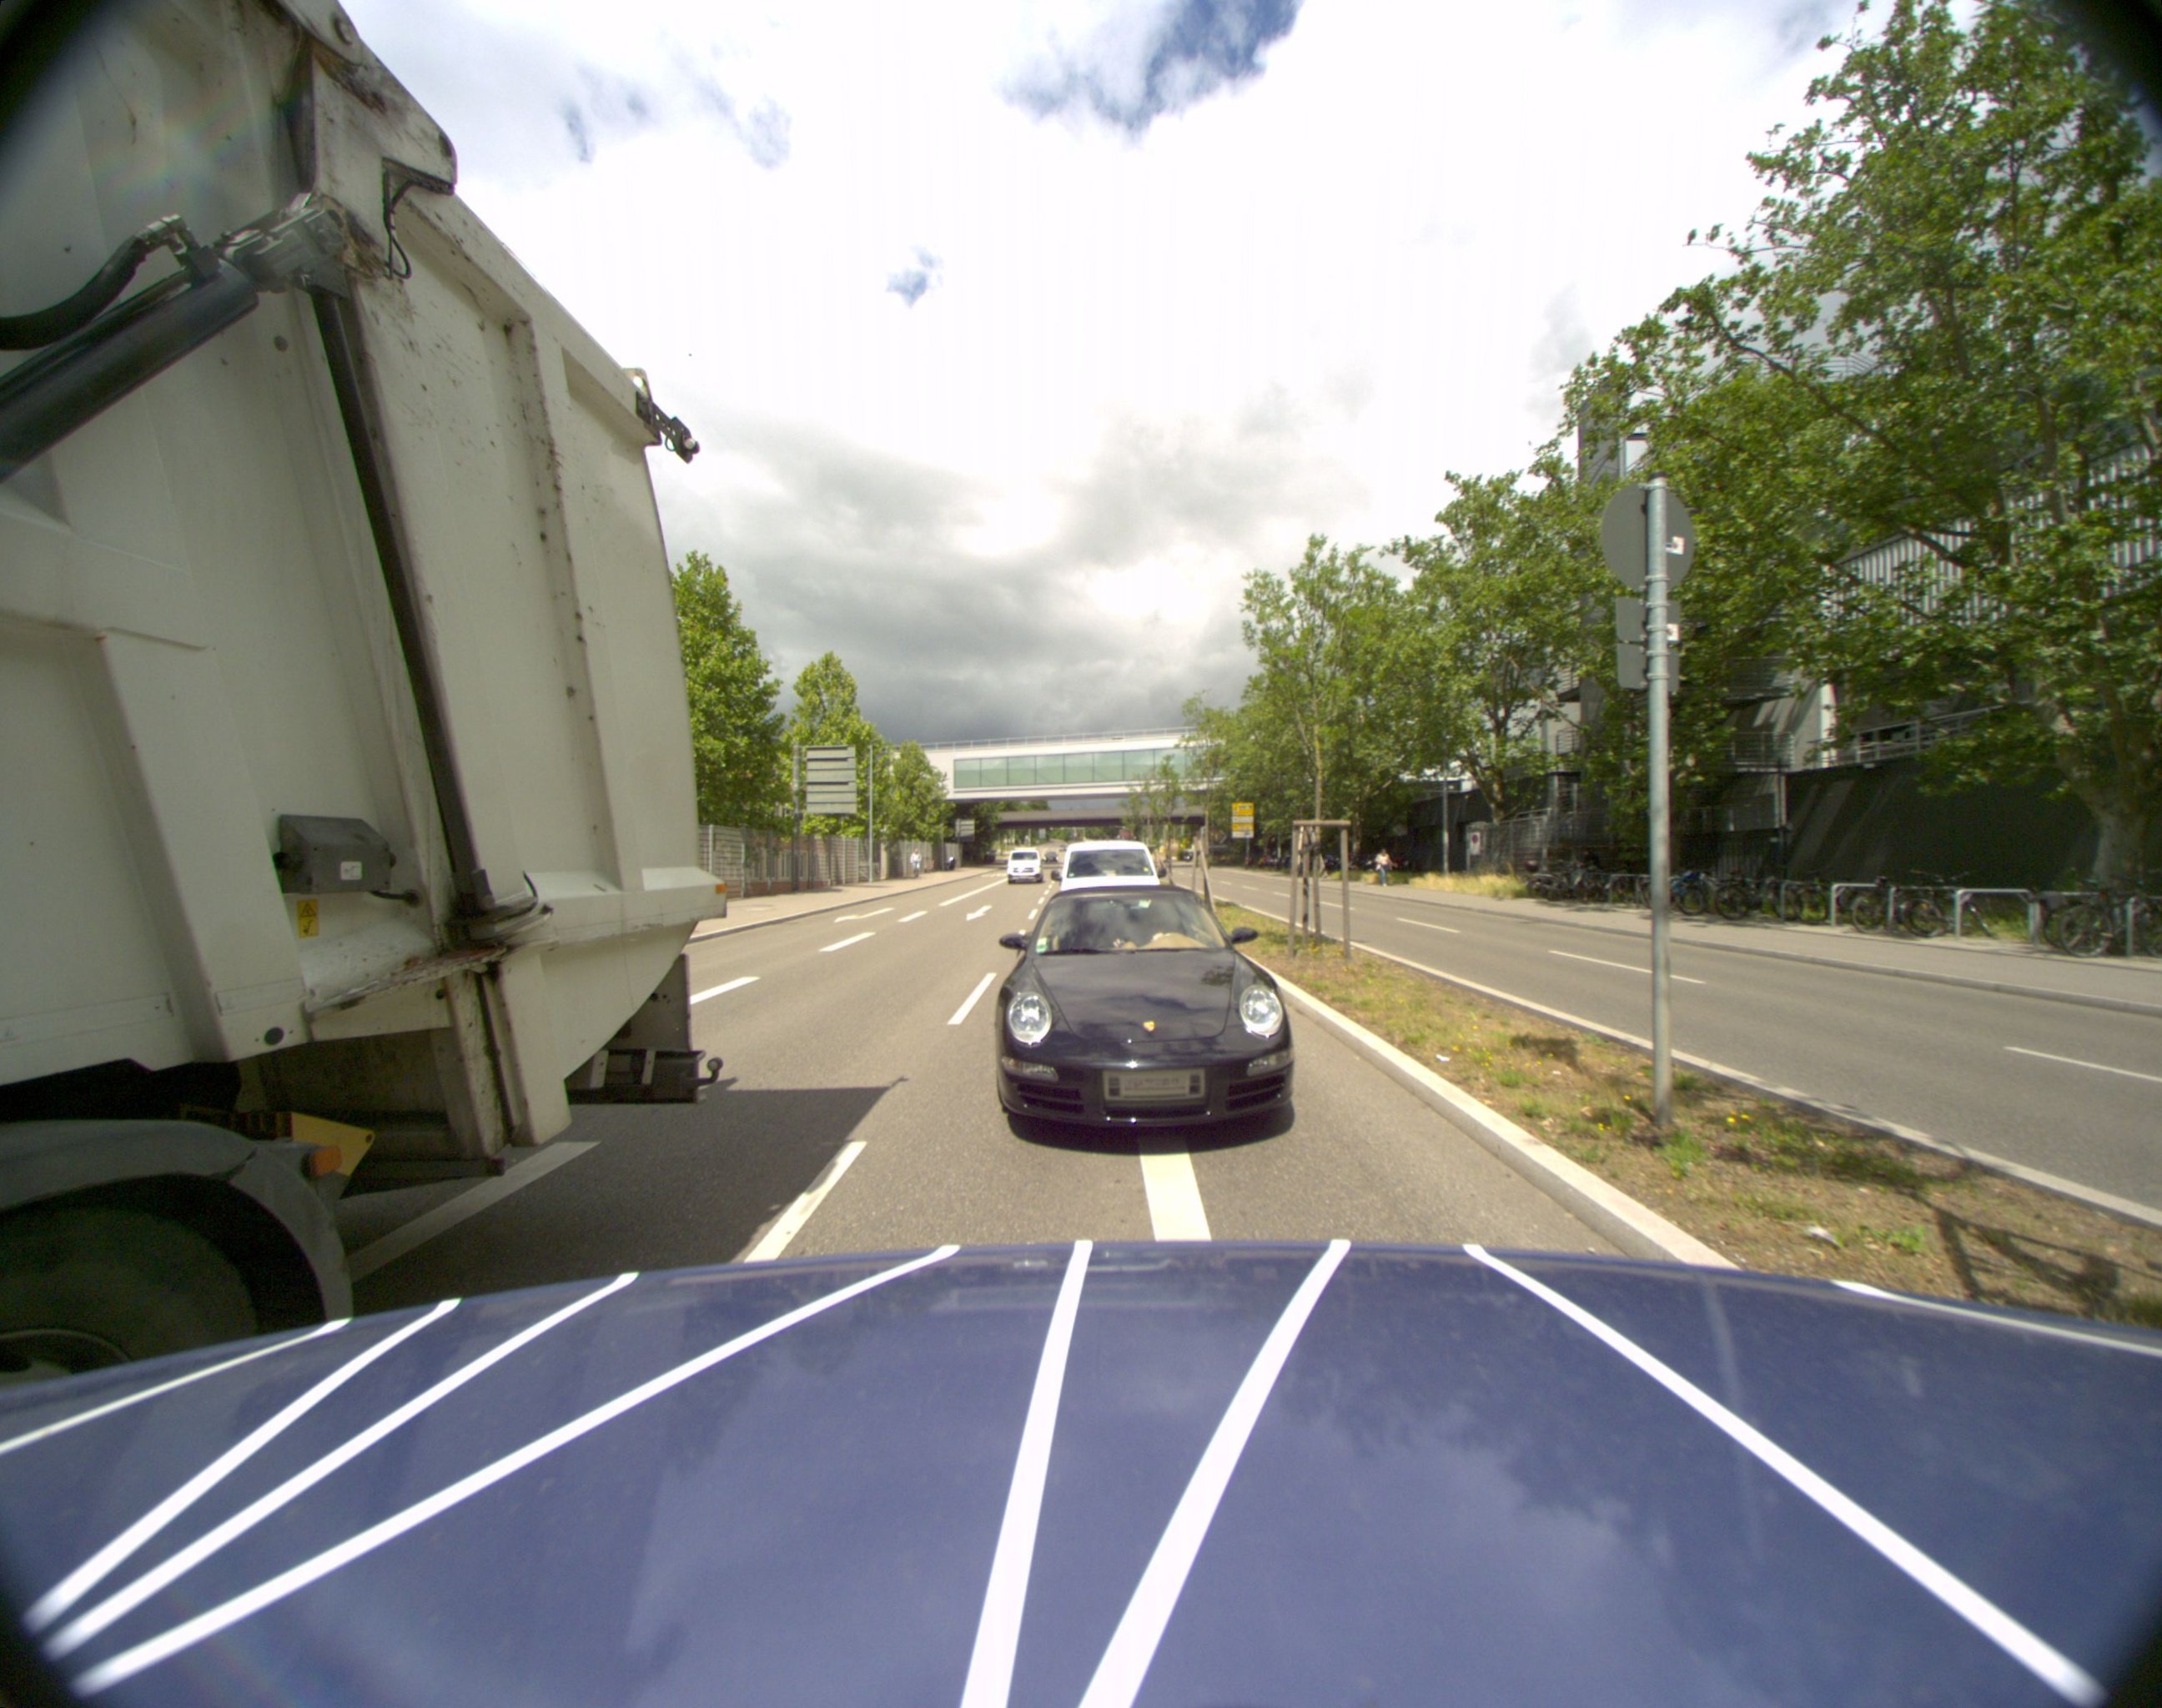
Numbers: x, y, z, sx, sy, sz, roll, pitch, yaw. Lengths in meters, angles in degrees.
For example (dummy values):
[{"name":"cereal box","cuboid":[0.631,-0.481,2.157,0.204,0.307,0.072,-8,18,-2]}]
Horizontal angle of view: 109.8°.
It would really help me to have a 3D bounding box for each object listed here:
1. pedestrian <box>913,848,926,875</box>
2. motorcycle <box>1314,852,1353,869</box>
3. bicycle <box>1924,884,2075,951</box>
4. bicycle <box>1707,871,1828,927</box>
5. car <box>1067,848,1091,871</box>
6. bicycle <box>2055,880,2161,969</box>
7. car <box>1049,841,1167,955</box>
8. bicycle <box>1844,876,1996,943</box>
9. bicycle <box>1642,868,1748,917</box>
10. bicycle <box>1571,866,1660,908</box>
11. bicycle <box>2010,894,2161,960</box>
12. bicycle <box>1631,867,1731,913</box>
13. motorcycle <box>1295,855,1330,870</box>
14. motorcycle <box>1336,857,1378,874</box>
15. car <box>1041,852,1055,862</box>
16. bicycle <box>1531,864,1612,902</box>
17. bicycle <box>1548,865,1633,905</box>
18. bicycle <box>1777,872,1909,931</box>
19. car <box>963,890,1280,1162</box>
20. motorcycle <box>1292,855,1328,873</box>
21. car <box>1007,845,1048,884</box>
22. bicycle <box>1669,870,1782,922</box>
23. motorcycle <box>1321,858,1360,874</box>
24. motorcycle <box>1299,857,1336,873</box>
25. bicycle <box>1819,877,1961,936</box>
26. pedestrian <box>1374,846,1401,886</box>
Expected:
[{"name":"pedestrian","cuboid":[-11.420,0.520,53.884,0.739,1.901,0.658,-2,1,-5]},{"name":"motorcycle","cuboid":[15.190,0.416,45.663,2.133,0.963,0.534,-1,0,1]},{"name":"bicycle","cuboid":[14.754,1.016,12.222,1.993,0.992,0.382,-1,1,-1]},{"name":"bicycle","cuboid":[14.502,0.946,16.062,2.129,1.104,0.382,-1,1,3]},{"name":"car","cuboid":[-0.134,0.439,62.902,1.862,1.800,4.357,-3,0,1]},{"name":"bicycle","cuboid":[14.355,0.930,10.240,1.993,1.121,0.382,-1,1,-1]},{"name":"car","cuboid":[0.473,0.701,14.708,1.862,1.800,4.906,-1,0,1]},{"name":"bicycle","cuboid":[14.580,0.959,13.223,2.129,1.089,0.382,-1,1,3]},{"name":"bicycle","cuboid":[14.506,0.910,17.973,2.129,1.104,0.382,-1,1,3]},{"name":"bicycle","cuboid":[14.824,0.917,21.100,2.129,1.104,0.382,-1,1,3]},{"name":"bicycle","cuboid":[14.958,1.074,11.243,1.993,0.885,0.382,-1,1,-1]},{"name":"bicycle","cuboid":[15.067,0.897,19.089,2.129,1.104,0.382,-1,1,3]},{"name":"motorcycle","cuboid":[15.382,0.548,50.446,2.133,0.963,0.534,-1,0,1]},{"name":"motorcycle","cuboid":[15.358,0.629,42.319,2.133,0.893,0.534,-1,0,1]},{"name":"car","cuboid":[-4.707,0.441,109.945,1.862,1.369,4.356,-1,0,-1]},{"name":"bicycle","cuboid":[14.751,0.867,22.865,2.129,1.104,0.382,-1,1,3]},{"name":"bicycle","cuboid":[14.755,0.904,22.023,2.129,1.104,0.382,-1,1,3]},{"name":"bicycle","cuboid":[15.043,0.928,15.023,2.129,1.104,0.382,-1,1,3]},{"name":"car","cuboid":[0.248,1.038,6.086,1.710,1.280,3.806,-1,0,1]},{"name":"motorcycle","cuboid":[14.812,0.662,49.174,2.133,1.131,0.534,-1,0,1]},{"name":"car","cuboid":[-3.054,0.566,44.247,1.925,2.082,4.657,-1,0,2]},{"name":"bicycle","cuboid":[14.481,0.934,17.087,2.129,1.104,0.382,-1,1,3]},{"name":"motorcycle","cuboid":[15.206,0.678,44.550,2.133,0.880,0.534,-1,0,1]},{"name":"motorcycle","cuboid":[14.803,0.697,47.595,2.133,0.963,0.534,-1,0,1]},{"name":"bicycle","cuboid":[15.013,0.971,14.117,2.129,1.025,0.382,-1,1,3]},{"name":"pedestrian","cuboid":[13.237,0.503,32.868,0.900,1.710,0.673,-1,1,1]}]
